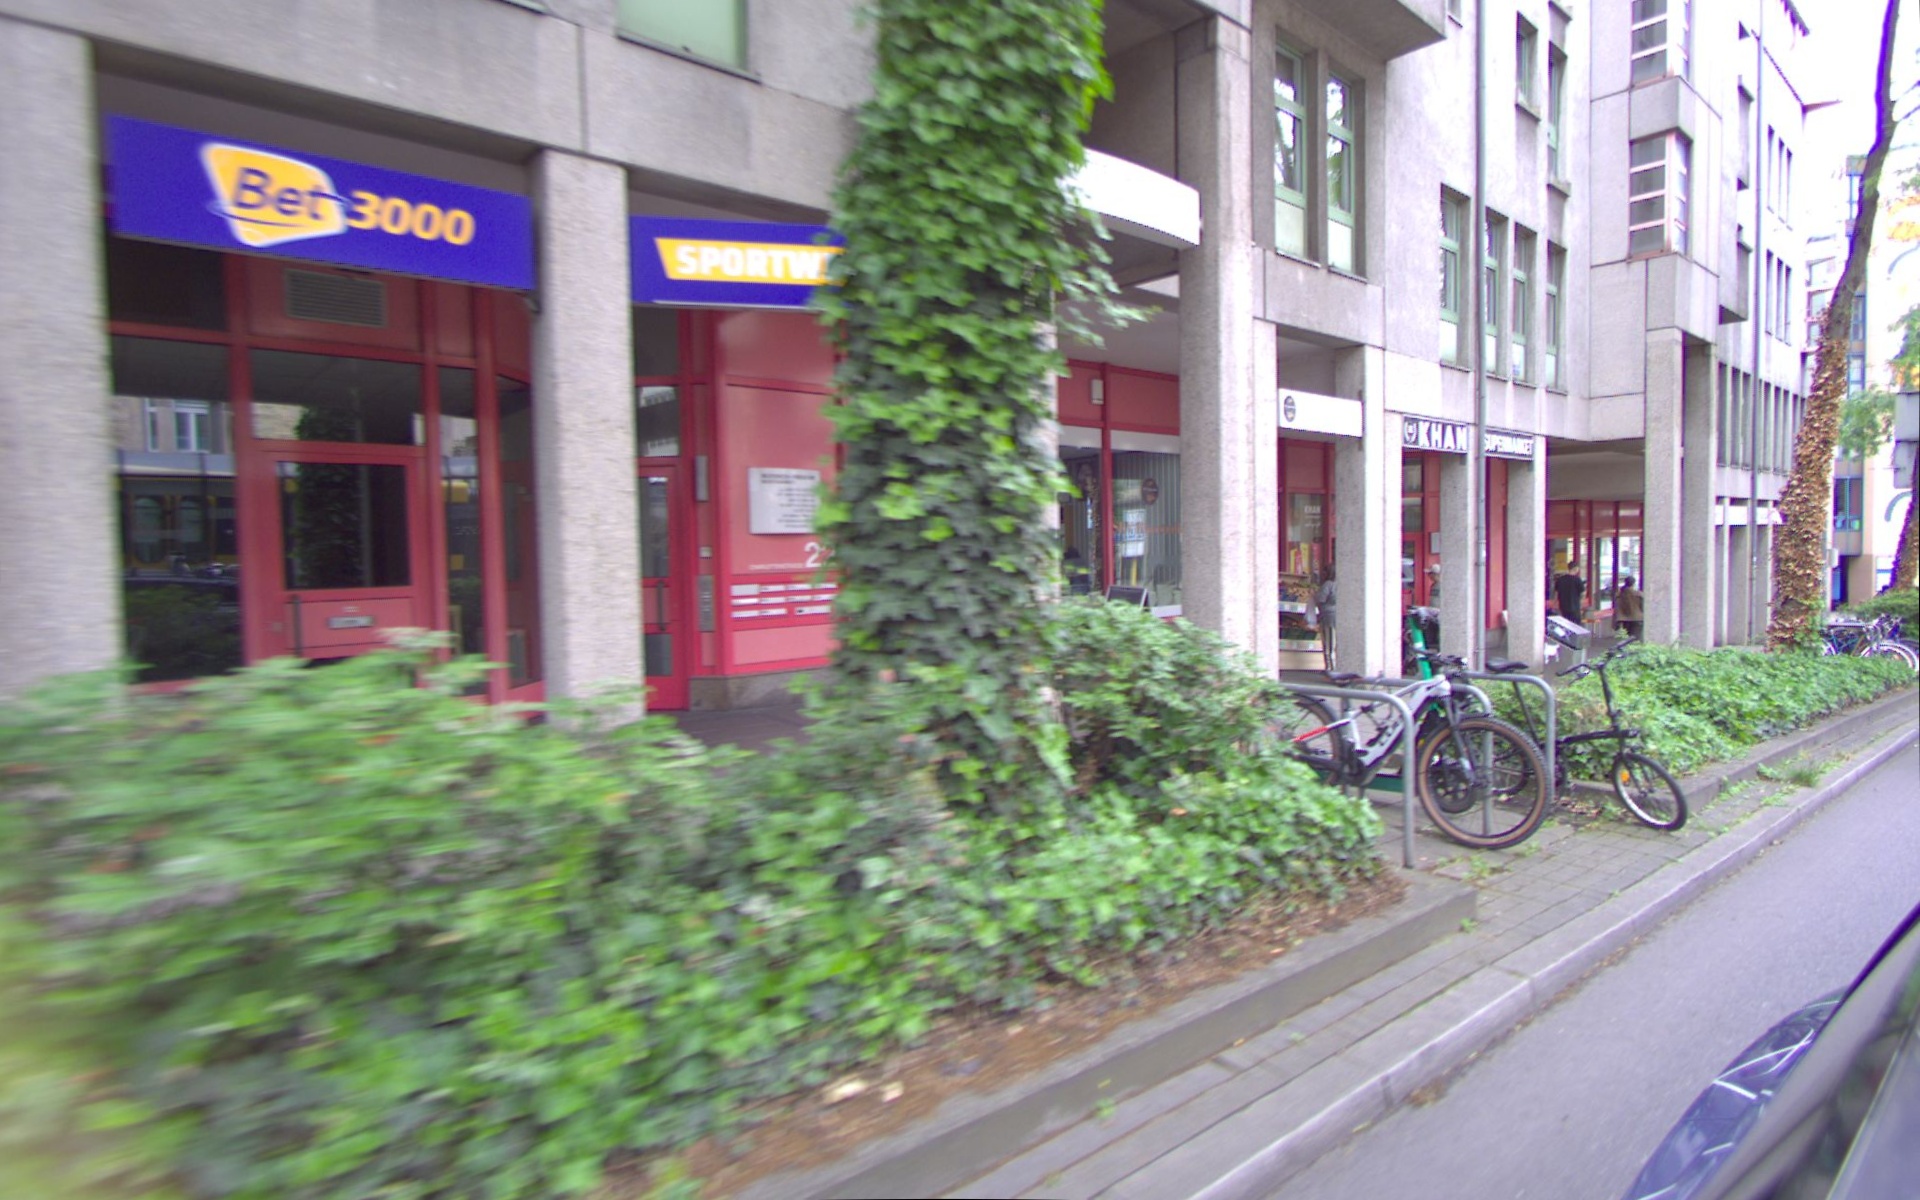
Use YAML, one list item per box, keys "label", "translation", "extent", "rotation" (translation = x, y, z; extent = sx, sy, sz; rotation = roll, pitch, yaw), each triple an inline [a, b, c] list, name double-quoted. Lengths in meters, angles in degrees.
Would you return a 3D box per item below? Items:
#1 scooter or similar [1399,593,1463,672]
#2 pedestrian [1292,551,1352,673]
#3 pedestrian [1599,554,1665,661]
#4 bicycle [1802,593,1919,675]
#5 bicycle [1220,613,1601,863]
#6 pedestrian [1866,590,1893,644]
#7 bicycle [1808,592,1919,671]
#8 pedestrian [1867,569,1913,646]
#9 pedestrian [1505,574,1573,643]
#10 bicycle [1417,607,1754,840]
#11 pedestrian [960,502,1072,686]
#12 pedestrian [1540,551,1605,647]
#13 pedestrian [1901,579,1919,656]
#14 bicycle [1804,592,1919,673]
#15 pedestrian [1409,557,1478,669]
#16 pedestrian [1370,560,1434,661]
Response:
- label: "scooter or similar"
  translation: [7.220, 0.476, 15.548]
  extent: [0.754, 1.123, 0.854]
  rotation: [1, 3, 18]
- label: "pedestrian"
  translation: [5.087, 0.157, 14.216]
  extent: [0.613, 1.632, 0.772]
  rotation: [3, 1, 29]
- label: "pedestrian"
  translation: [11.853, 0.115, 17.851]
  extent: [0.762, 1.805, 0.834]
  rotation: [3, 2, 45]
- label: "bicycle"
  translation: [14.540, 0.524, 16.101]
  extent: [1.708, 1.198, 0.442]
  rotation: [4, 3, 43]
- label: "bicycle"
  translation: [2.520, 0.693, 5.890]
  extent: [0.603, 1.089, 1.919]
  rotation: [-1, 4, -42]
- label: "pedestrian"
  translation: [23.426, 0.435, 25.792]
  extent: [0.511, 1.350, 0.471]
  rotation: [-2, 1, -44]
- label: "bicycle"
  translation: [15.182, 0.508, 16.746]
  extent: [1.708, 1.198, 0.442]
  rotation: [4, 3, 43]
- label: "pedestrian"
  translation: [22.824, 0.170, 24.835]
  extent: [0.820, 1.825, 0.722]
  rotation: [2, 1, -44]
- label: "pedestrian"
  translation: [12.149, 0.157, 21.231]
  extent: [1.056, 1.380, 0.745]
  rotation: [4, 3, 44]
- label: "bicycle"
  translation: [3.776, 0.666, 6.245]
  extent: [0.602, 1.141, 1.626]
  rotation: [0, 3, -36]
- label: "pedestrian"
  translation: [0.580, -0.076, 10.566]
  extent: [0.710, 1.825, 0.834]
  rotation: [2, 2, -37]
- label: "pedestrian"
  translation: [12.099, -0.026, 19.991]
  extent: [0.710, 1.825, 0.834]
  rotation: [2, 1, -40]
- label: "pedestrian"
  translation: [20.782, 0.394, 21.807]
  extent: [0.615, 1.632, 0.753]
  rotation: [3, 1, 39]
- label: "bicycle"
  translation: [14.857, 0.514, 16.440]
  extent: [1.708, 1.198, 0.442]
  rotation: [4, 3, 43]
- label: "pedestrian"
  translation: [7.739, 0.195, 16.233]
  extent: [0.750, 1.744, 0.677]
  rotation: [-2, 2, 1]
- label: "pedestrian"
  translation: [7.359, 0.176, 16.850]
  extent: [0.750, 1.632, 0.618]
  rotation: [2, 1, -36]
